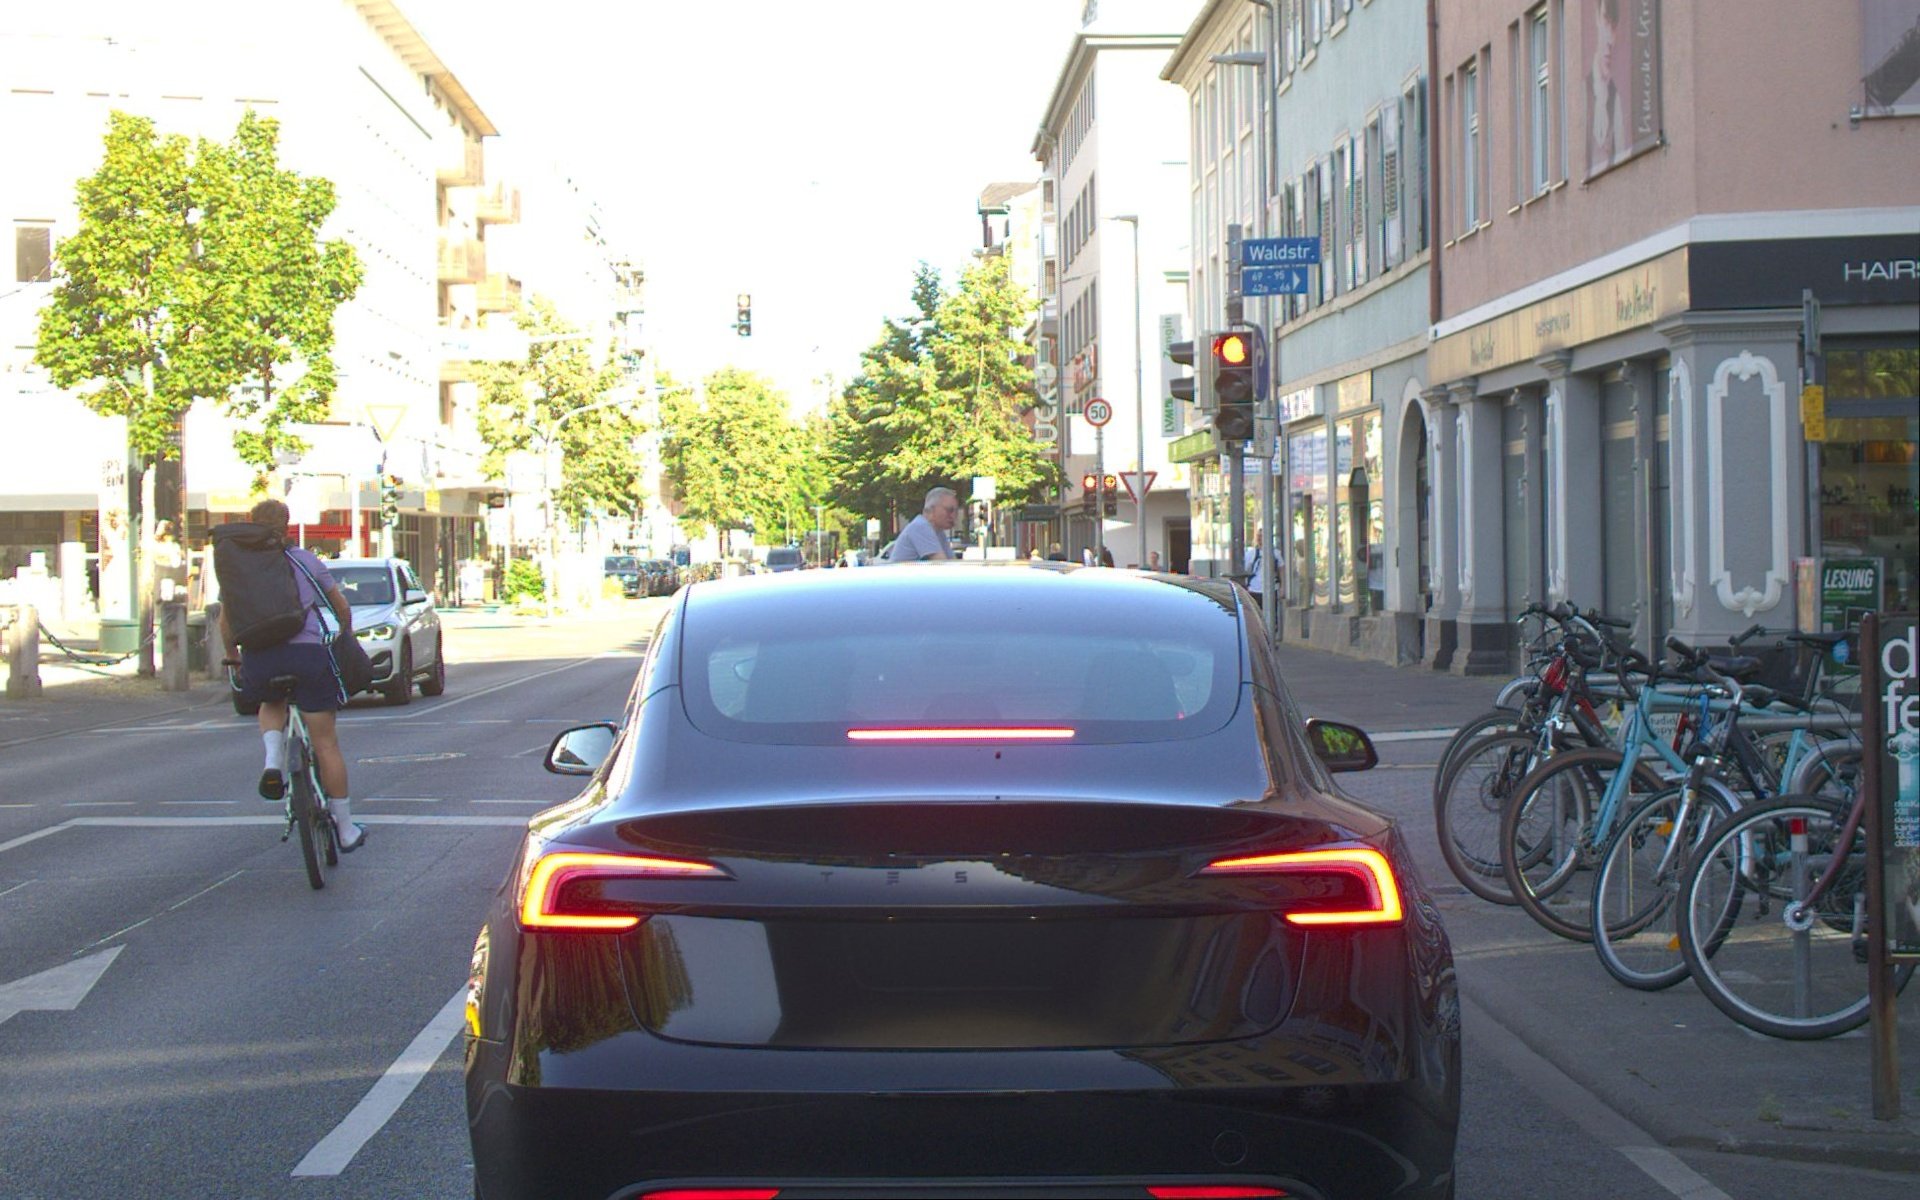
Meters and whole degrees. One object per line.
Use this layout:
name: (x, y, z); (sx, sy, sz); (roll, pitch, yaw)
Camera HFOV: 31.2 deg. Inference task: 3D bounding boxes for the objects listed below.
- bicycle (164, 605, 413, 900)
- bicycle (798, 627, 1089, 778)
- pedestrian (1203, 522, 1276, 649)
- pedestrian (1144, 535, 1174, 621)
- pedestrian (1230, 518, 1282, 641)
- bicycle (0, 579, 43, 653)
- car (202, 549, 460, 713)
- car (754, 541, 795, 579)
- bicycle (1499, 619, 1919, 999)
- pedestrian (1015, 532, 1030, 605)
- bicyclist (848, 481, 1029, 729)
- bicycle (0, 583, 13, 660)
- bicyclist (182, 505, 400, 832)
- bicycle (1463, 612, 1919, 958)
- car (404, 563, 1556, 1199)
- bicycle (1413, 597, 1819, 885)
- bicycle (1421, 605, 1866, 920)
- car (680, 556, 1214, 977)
bicycle: (-3.002, 0.651, 15.541); (0.796, 1.228, 1.774); (0, 1, -1)
bicycle: (-0.107, 0.681, 23.191); (1.864, 0.942, 0.628); (1, 1, 11)
pedestrian: (4.072, -0.214, 50.124); (0.999, 1.844, 0.615); (0, 1, -1)
pedestrian: (3.888, -0.433, 67.214); (0.570, 1.685, 0.387); (0, 1, -1)
pedestrian: (4.315, -0.302, 50.189); (0.704, 1.777, 0.533); (0, 1, -1)
bicycle: (-15.062, 0.236, 52.177); (2.082, 1.100, 0.806); (0, 1, -1)
car: (-6.687, 0.282, 36.958); (1.993, 1.535, 4.000); (-4, 1, -1)
car: (-8.530, -1.852, 158.570); (1.829, 1.718, 4.000); (0, 1, -2)
bicycle: (2.626, 0.665, 11.206); (1.627, 1.156, 0.433); (-2, 1, -1)
pedestrian: (1.717, -0.877, 94.724); (0.384, 2.007, 0.297); (0, 1, -1)
bicyclist: (-0.137, 0.026, 23.197); (1.120, 1.648, 0.628); (0, 1, 11)
bicycle: (-14.923, 0.307, 49.984); (2.082, 1.100, 0.806); (0, 1, -1)
bicyclist: (-3.007, 0.291, 15.542); (0.796, 1.430, 1.008); (0, 1, -1)
bicycle: (2.678, 0.654, 12.384); (1.627, 1.156, 0.433); (-2, 1, -1)
car: (0.037, 0.655, 7.422); (1.850, 1.450, 3.786); (0, 1, 0)
bicycle: (2.804, 0.599, 14.767); (1.628, 1.156, 0.433); (-2, 1, 1)
bicycle: (2.681, 0.630, 13.546); (1.627, 1.156, 0.433); (-2, 1, -1)
car: (-0.040, 0.553, 13.807); (1.850, 1.450, 3.786); (0, 1, 0)
